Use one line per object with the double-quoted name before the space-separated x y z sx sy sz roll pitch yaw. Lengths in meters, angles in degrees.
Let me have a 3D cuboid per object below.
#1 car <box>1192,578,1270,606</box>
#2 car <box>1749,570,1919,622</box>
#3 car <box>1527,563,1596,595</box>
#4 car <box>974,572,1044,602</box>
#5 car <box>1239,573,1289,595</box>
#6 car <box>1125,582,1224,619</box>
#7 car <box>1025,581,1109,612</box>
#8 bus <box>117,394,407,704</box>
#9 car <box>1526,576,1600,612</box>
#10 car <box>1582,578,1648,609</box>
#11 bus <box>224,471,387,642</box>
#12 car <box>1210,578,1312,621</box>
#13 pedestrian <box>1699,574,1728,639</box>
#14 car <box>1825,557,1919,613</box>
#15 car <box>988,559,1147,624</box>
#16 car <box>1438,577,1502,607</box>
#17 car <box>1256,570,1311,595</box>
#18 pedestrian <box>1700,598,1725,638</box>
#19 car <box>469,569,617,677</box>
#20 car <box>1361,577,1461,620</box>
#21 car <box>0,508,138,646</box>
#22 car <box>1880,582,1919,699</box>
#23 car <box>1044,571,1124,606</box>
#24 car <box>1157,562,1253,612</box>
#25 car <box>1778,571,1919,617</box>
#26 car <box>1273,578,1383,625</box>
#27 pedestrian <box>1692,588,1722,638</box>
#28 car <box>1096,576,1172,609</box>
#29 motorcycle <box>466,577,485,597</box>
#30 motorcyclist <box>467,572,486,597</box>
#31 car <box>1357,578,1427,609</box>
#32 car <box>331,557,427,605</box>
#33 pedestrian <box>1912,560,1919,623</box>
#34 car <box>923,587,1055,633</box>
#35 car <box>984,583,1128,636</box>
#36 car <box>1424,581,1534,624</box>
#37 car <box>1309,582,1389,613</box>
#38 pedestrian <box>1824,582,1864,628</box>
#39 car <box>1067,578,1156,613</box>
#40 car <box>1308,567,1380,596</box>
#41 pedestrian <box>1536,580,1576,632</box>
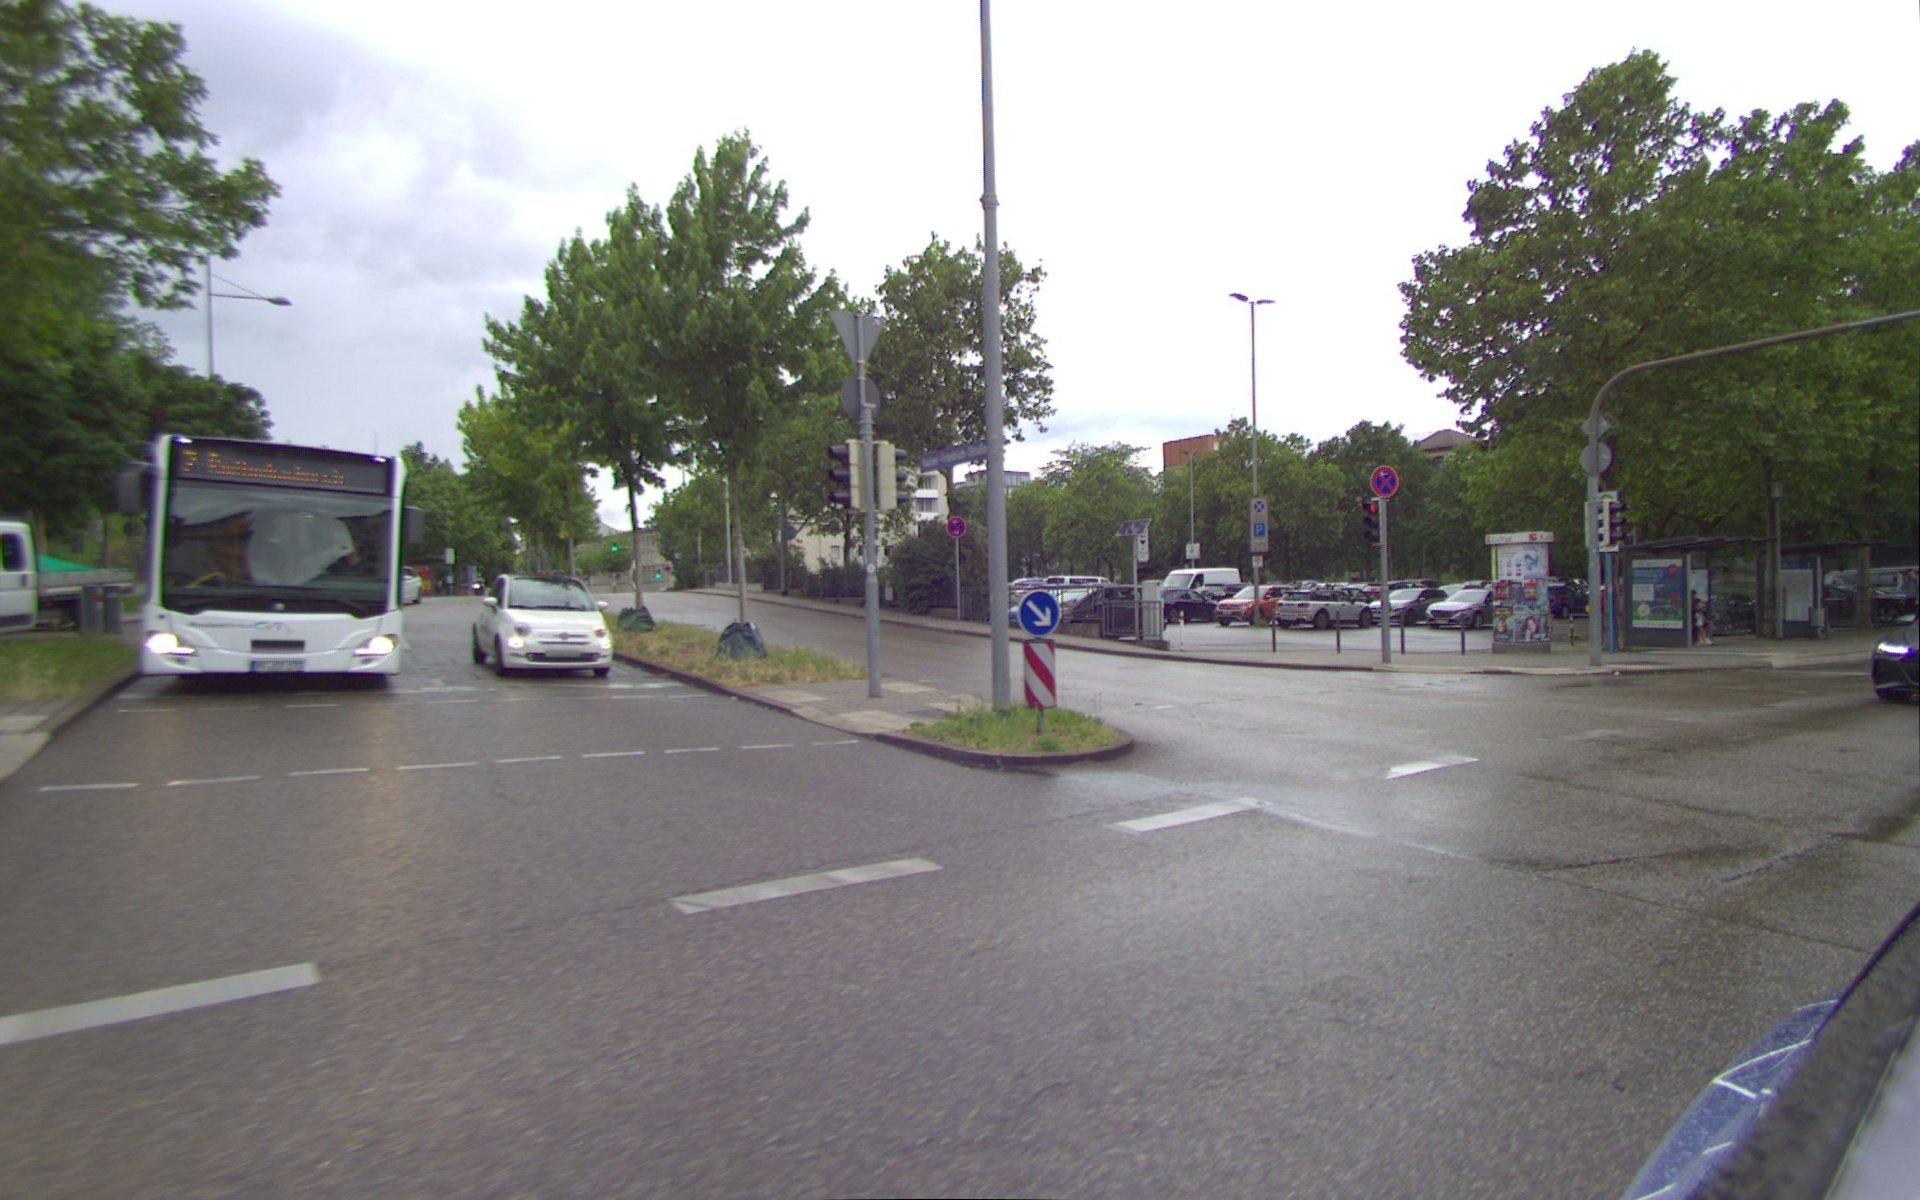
"car" 12.517 -0.393 46.719 3.563 1.251 1.533 -1 1 -34
"car" 30.041 -0.112 34.636 1.828 1.503 4.413 -3 -1 -35
"car" 36.136 -1.279 60.784 4.360 1.709 1.782 -3 0 -34
"car" 3.139 -0.859 64.857 4.282 1.853 1.834 -1 1 -35
"car" 22.581 -1.191 75.219 3.530 1.442 1.641 -3 0 -34
"car" 9.063 -0.019 42.687 3.920 1.467 1.765 -1 1 -29
"car" 5.312 -0.188 50.260 3.920 1.462 1.663 -1 1 -29
"bus" -10.225 -0.672 15.485 2.652 3.256 9.668 -1 2 -31
"car" 27.043 -0.281 45.375 3.293 1.440 1.641 -3 1 -35
"car" 31.582 -0.339 48.745 3.767 1.445 1.531 -1 1 -38
"bus" -14.821 -0.941 23.340 2.634 3.220 8.569 -1 2 -31
"car" 11.835 -0.048 39.751 3.923 1.610 1.763 -1 1 -34
"pedestrian" 20.230 0.175 27.179 0.536 1.717 0.549 -1 0 30
"car" 36.627 -0.651 38.747 1.912 1.967 4.854 -3 -2 -29
"car" 2.992 -0.276 27.855 4.181 1.633 1.806 -2 1 -34
"car" 27.784 -0.473 55.119 3.563 1.577 1.533 -1 1 -34
"car" 21.219 -1.141 66.308 3.540 1.612 1.533 -1 1 -33
"pedestrian" 19.907 0.469 26.769 0.363 1.048 0.402 -1 0 -30
"car" -6.583 0.305 15.789 1.559 1.470 3.571 0 0 -32
"car" 17.727 -0.088 39.732 3.923 1.610 1.763 -1 1 -34
"car" -17.032 -0.381 17.182 2.208 2.261 6.357 -1 2 -14
"car" 14.058 0.482 13.407 4.279 1.422 1.898 -2 3 -35
"car" 6.844 -0.639 55.632 4.282 1.853 1.834 -1 1 -35
"car" 12.288 -0.676 50.644 4.919 2.348 1.973 -1 1 -37
"car" 33.181 -0.215 36.928 1.825 1.423 4.756 -3 -1 -29
"car" 13.594 0.010 37.328 4.096 1.610 1.763 -1 1 -34
"pedestrian" 19.561 0.331 26.513 0.393 1.287 0.500 -1 0 -30
"car" 9.257 -0.409 53.728 3.827 1.688 1.809 -1 1 -35
"motorcycle" -29.058 -0.790 60.728 0.559 1.132 2.695 -1 1 -15
"motorcyclist" -29.050 -0.935 60.821 0.789 1.455 1.243 -1 1 -15
"car" 21.905 -0.365 51.294 3.563 1.523 1.533 -1 1 -34
"car" -22.012 -0.743 38.556 1.958 1.673 4.886 -1 1 -15
"pedestrian" 29.268 -0.272 30.468 0.729 1.865 0.748 -3 0 37
"car" 1.019 0.299 34.330 4.180 1.371 1.857 -2 1 -33
"car" 2.972 0.238 31.042 4.180 1.458 1.857 -2 1 -33
"car" 19.188 0.057 37.342 4.359 1.458 1.739 -1 1 -34
"car" 16.434 -0.121 42.694 3.291 1.251 1.533 -1 1 -34
"pedestrian" 26.814 0.148 30.689 0.613 1.338 0.634 -3 0 -19
"car" 7.195 -0.263 47.918 3.920 1.585 1.765 -1 1 -29
"car" 23.590 -1.137 62.124 4.545 1.691 1.973 -1 1 -37
"pedestrian" 19.007 0.182 32.293 0.844 1.653 0.768 -1 0 -31
